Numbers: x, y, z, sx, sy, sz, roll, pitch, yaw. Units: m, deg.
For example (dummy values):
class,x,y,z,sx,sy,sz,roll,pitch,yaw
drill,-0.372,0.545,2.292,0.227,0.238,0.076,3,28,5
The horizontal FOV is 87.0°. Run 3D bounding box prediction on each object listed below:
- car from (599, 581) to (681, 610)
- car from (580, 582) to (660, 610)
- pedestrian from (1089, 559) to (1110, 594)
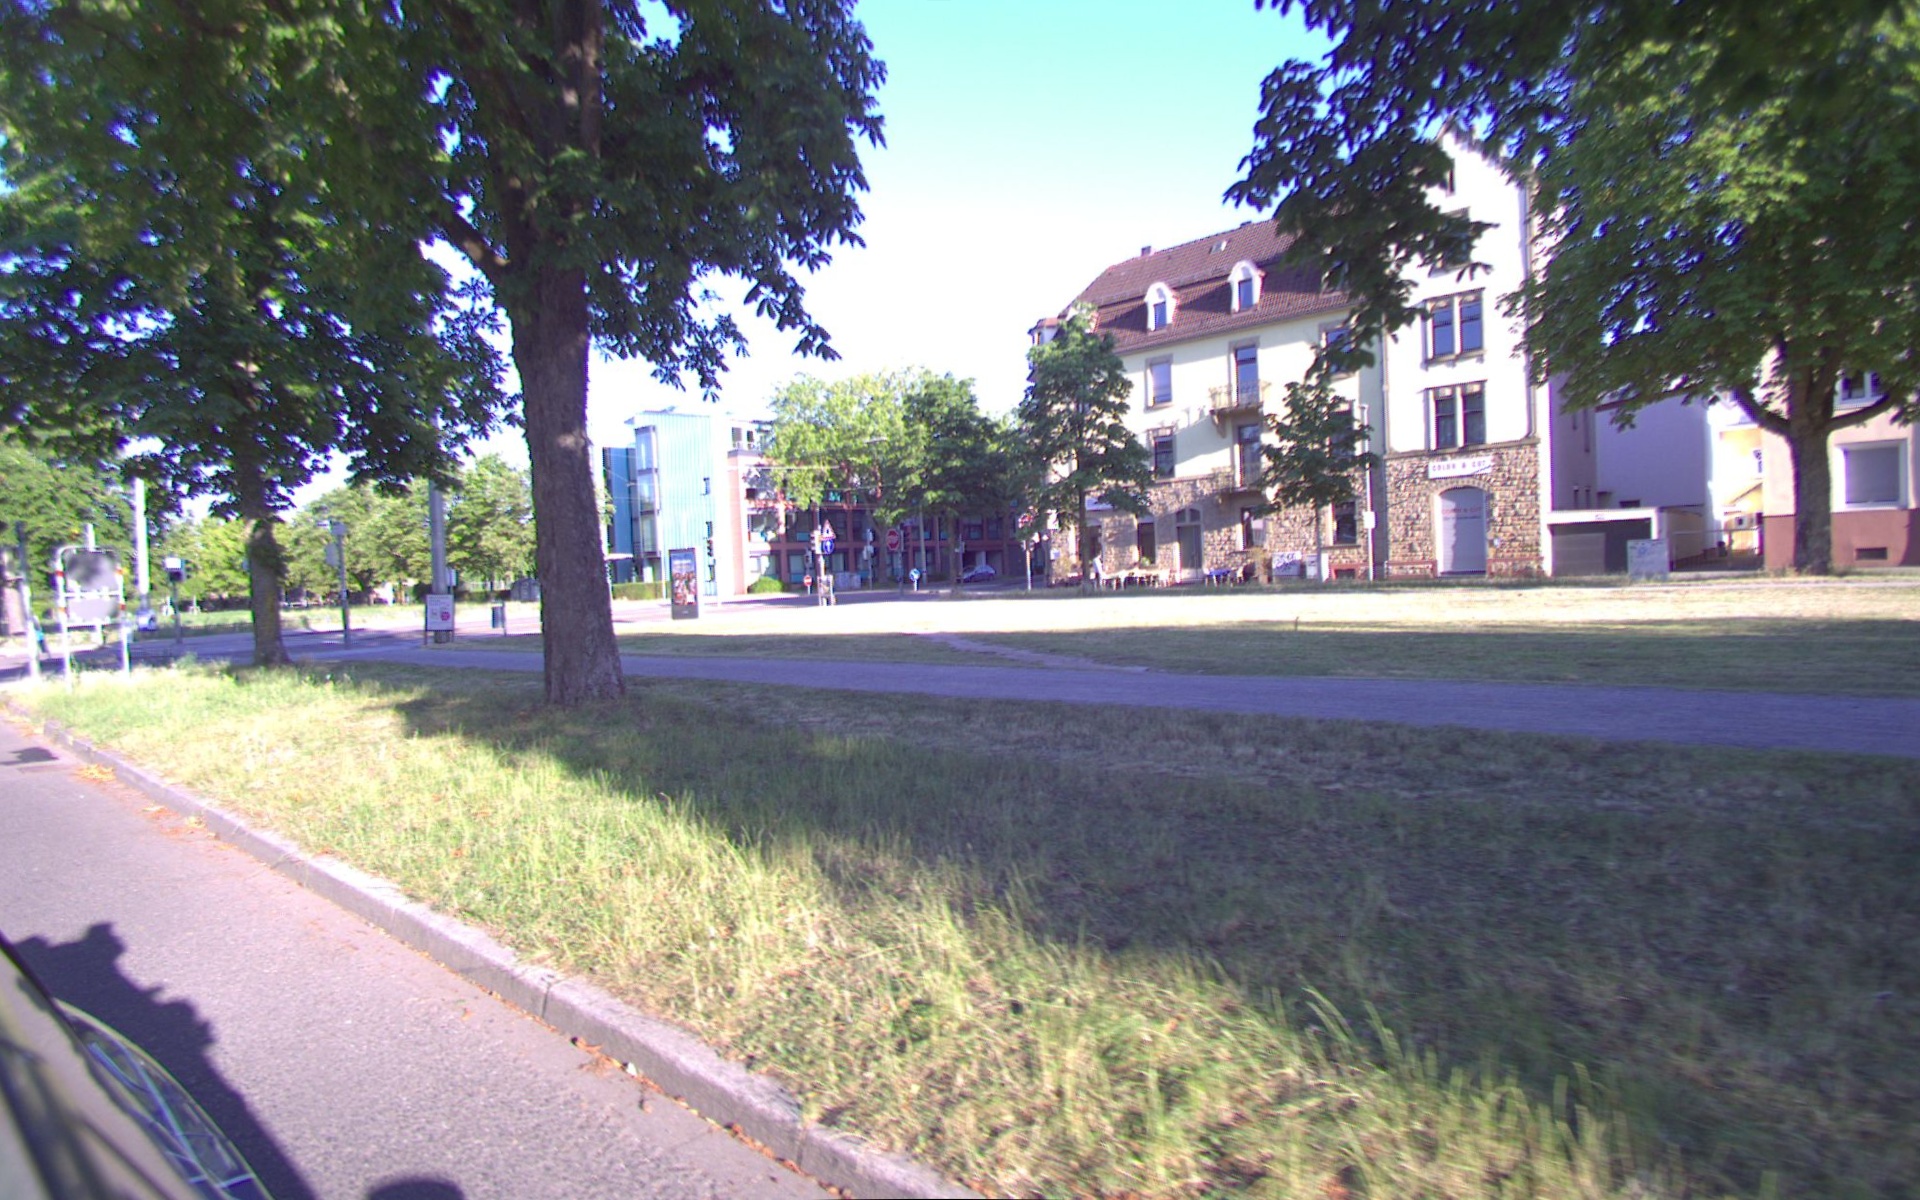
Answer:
class,x,y,z,sx,sy,sz,roll,pitch,yaw
car,-22.331,-0.338,70.720,1.998,1.683,5.157,-1,3,39
car,-24.220,-0.315,72.329,1.964,1.683,5.160,0,4,37
pedestrian,6.756,-1.151,48.925,0.682,1.636,0.610,-1,5,40
